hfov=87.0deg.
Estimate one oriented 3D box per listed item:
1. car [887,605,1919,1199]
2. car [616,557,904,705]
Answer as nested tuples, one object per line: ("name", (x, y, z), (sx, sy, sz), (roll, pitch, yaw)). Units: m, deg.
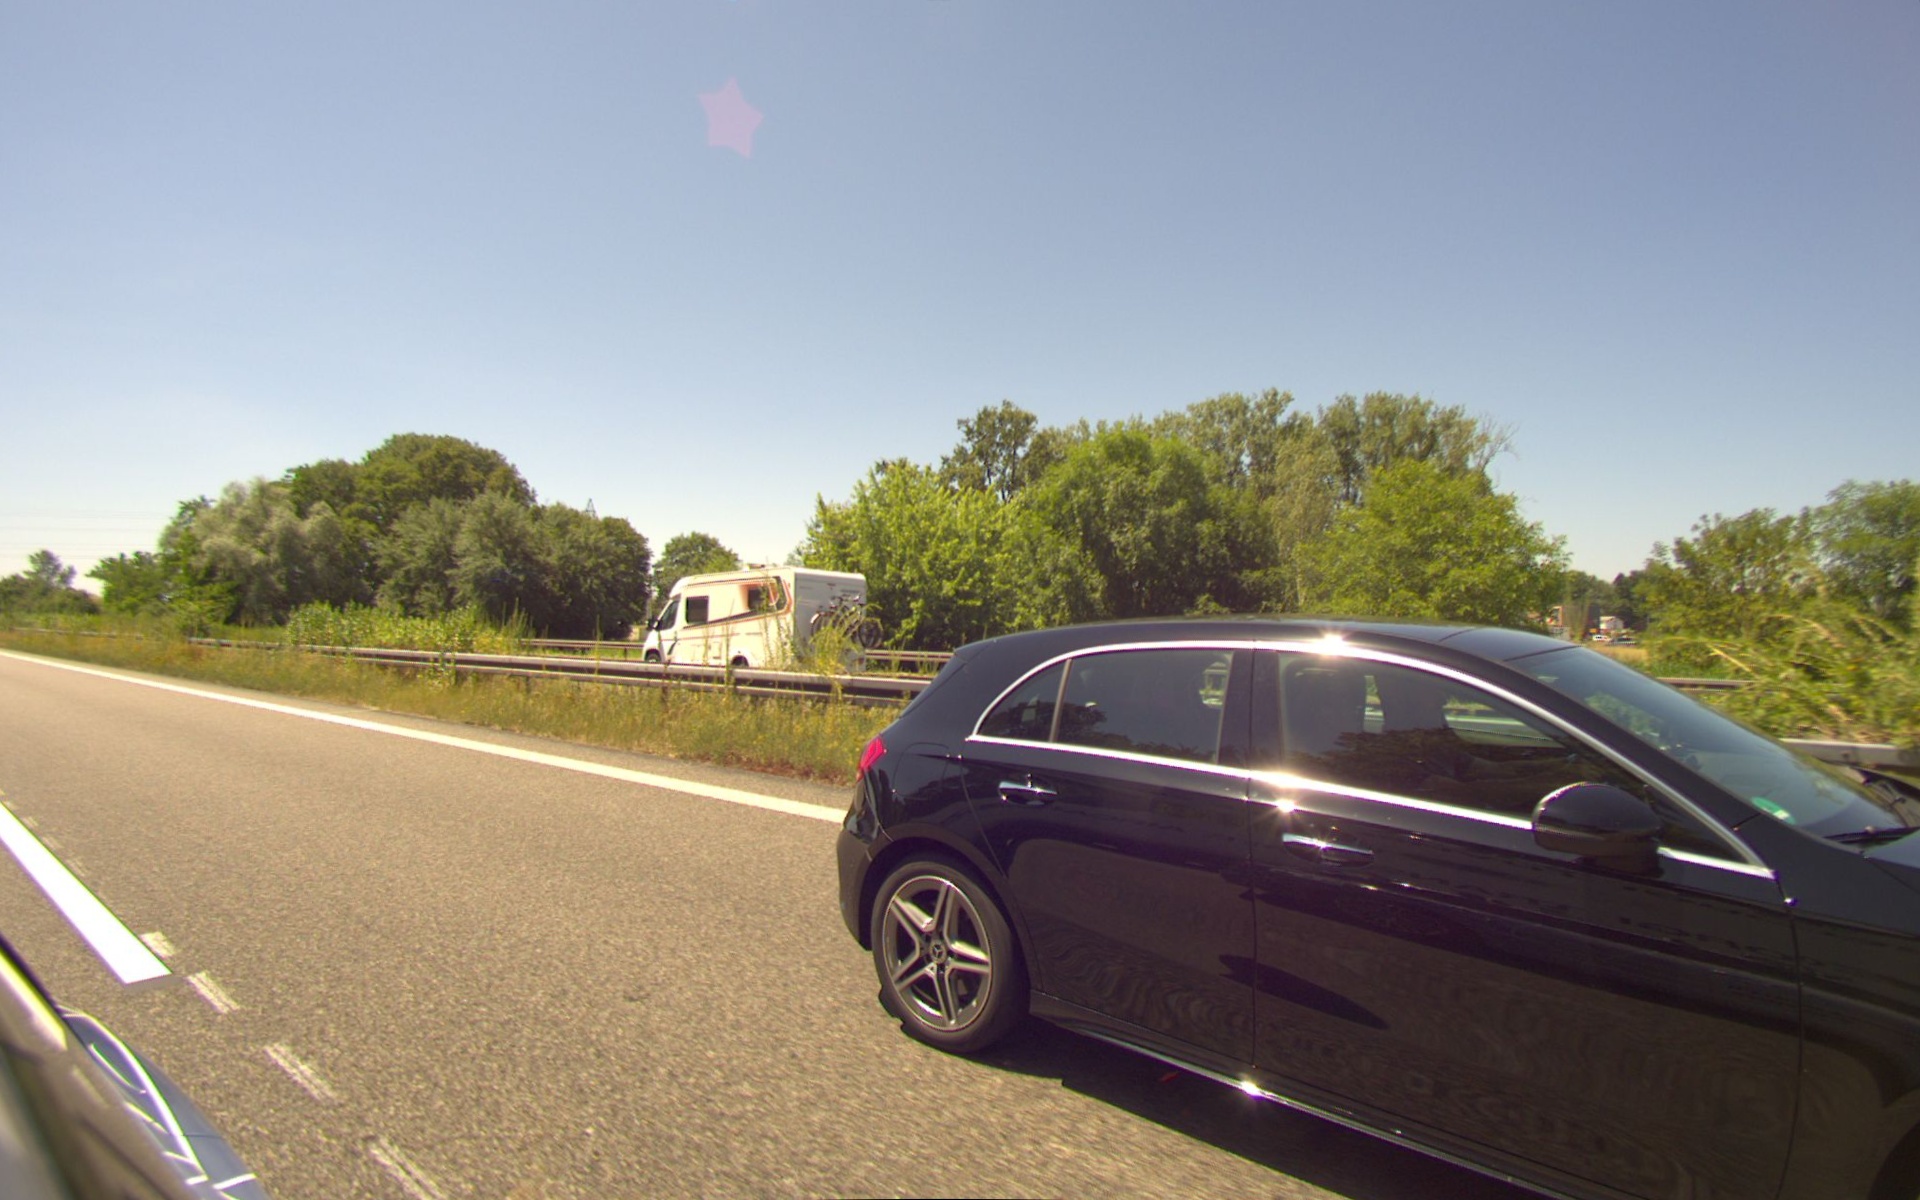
("car", (1.840, 0.738, 2.702), (4.052, 1.422, 1.773), (-1, -2, 42))
("car", (-5.043, 0.709, 24.218), (8.084, 3.005, 2.519), (-1, -2, 43))
